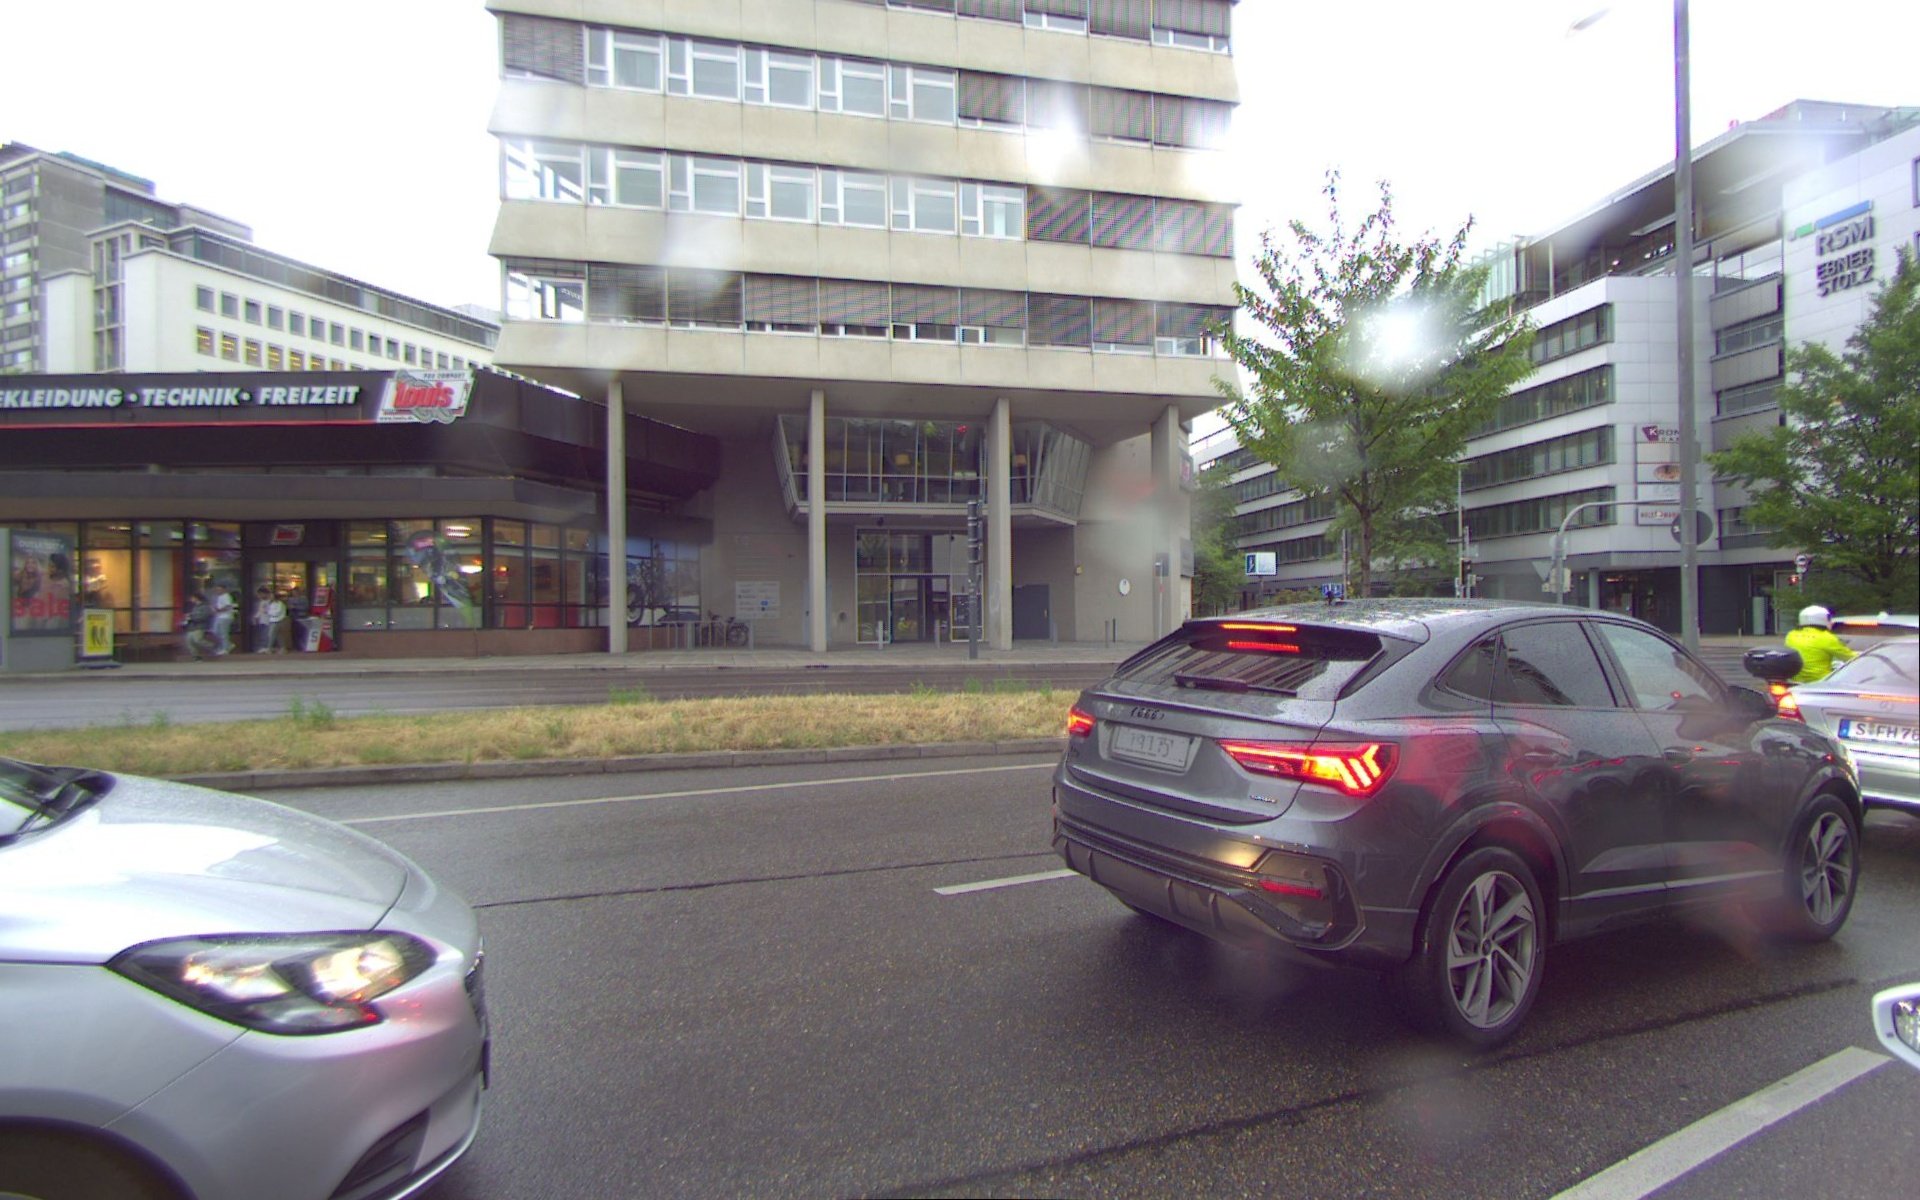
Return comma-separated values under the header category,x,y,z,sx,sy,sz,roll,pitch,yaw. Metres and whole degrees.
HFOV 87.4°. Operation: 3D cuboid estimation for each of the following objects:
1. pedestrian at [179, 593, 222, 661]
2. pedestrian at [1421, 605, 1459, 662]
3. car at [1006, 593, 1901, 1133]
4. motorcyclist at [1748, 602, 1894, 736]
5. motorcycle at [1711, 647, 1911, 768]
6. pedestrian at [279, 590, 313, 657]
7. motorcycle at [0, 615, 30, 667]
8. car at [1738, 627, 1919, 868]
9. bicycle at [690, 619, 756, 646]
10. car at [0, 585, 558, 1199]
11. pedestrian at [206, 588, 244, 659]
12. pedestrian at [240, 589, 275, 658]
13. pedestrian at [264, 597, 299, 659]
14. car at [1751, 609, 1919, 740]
category,x,y,z,sx,sy,sz,roll,pitch,yaw
pedestrian,-18.491,0.659,24.470,0.601,1.633,0.614,1,0,-9
pedestrian,14.435,1.000,30.216,0.751,1.706,0.677,1,0,-16
car,2.431,0.777,4.643,4.220,1.542,1.640,1,0,-30
motorcyclist,9.461,0.737,11.053,1.102,1.398,0.768,2,0,-21
motorcycle,9.345,1.148,11.030,1.998,1.200,0.799,2,0,-21
pedestrian,-17.662,0.629,26.730,0.548,1.767,0.541,1,0,-9
motorcycle,-23.523,0.989,24.194,0.353,1.249,1.669,1,0,20
car,7.614,0.967,7.064,4.050,1.426,1.567,2,0,-22
bicycle,-8.064,1.122,34.240,2.165,0.871,0.456,2,0,-31
car,-2.861,0.682,1.711,3.831,1.455,1.639,1,0,-32
pedestrian,-18.695,0.592,25.562,0.548,1.767,0.614,1,0,-9
pedestrian,-18.185,0.610,26.004,0.548,1.767,0.541,1,0,-9
pedestrian,-17.477,0.718,25.878,0.548,1.591,0.541,1,0,-9
car,12.639,0.930,13.212,3.940,1.506,1.704,2,0,-21
